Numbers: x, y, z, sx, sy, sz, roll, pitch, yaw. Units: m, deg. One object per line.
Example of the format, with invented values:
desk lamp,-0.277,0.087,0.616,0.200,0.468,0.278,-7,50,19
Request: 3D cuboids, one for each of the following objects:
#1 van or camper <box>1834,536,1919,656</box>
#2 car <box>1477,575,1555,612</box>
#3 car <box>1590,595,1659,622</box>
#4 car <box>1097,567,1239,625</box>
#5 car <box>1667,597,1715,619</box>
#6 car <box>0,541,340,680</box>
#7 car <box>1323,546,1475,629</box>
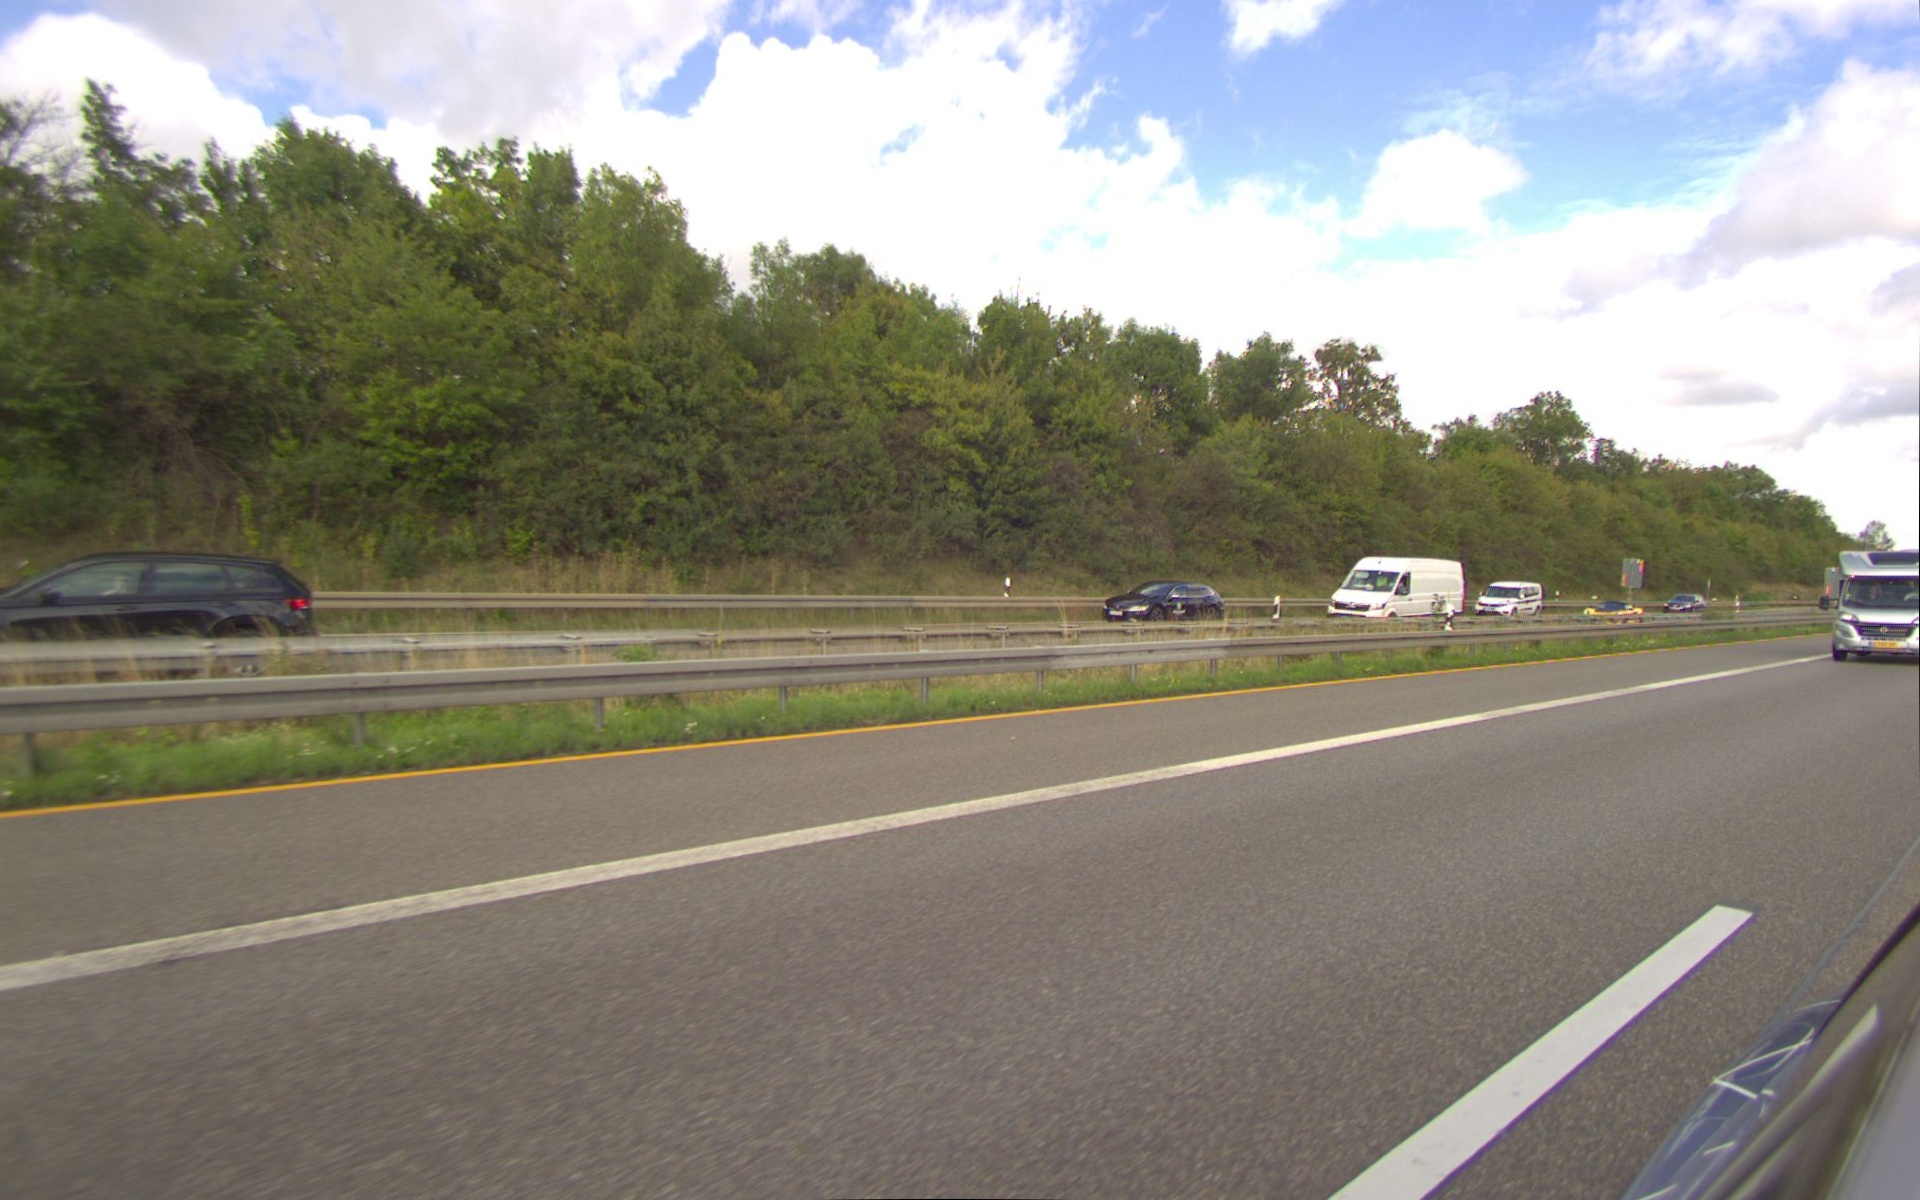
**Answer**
van or camper,24.682,-0.100,25.876,7.527,2.756,2.473,0,0,-41
car,27.629,-0.322,50.217,4.680,1.774,1.847,0,1,-40
car,31.909,0.386,48.540,4.096,1.196,1.715,0,1,-41
car,6.570,-0.140,31.668,4.681,1.622,1.847,0,3,-42
car,50.447,0.523,69.840,4.095,1.433,1.715,0,2,-40
car,-10.472,0.087,12.618,4.446,1.502,1.847,0,3,-41
car,15.137,-0.410,34.668,6.624,2.586,2.074,0,2,-41
